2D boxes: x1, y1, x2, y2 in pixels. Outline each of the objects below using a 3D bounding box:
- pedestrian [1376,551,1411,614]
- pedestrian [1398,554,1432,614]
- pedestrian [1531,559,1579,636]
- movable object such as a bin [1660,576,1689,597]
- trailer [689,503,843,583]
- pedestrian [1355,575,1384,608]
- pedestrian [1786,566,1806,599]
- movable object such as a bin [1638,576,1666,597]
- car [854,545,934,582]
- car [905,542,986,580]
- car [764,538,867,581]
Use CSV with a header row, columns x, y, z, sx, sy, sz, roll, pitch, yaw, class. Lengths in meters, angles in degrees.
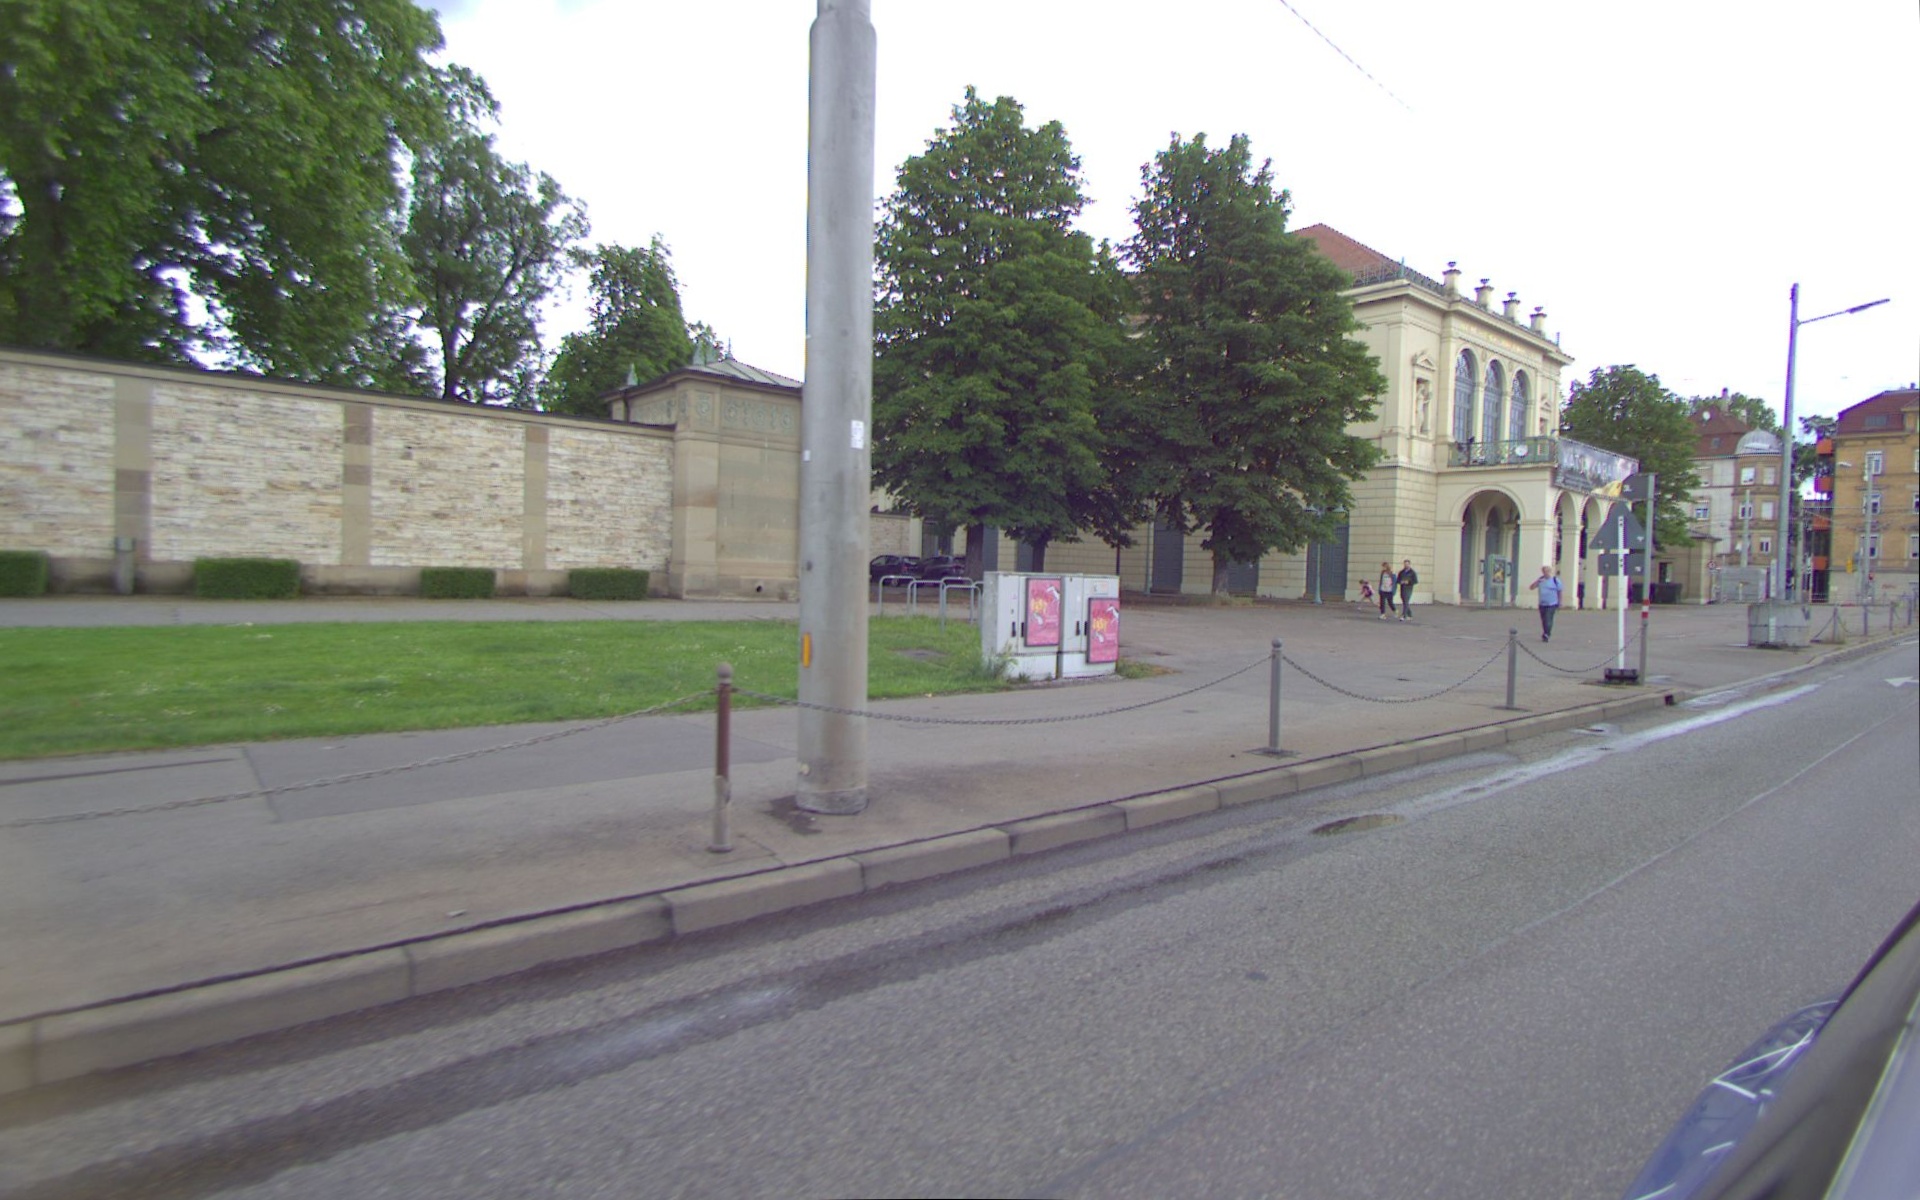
x,y,z,sx,sy,sz,roll,pitch,yaw,class
12.865,-0.521,30.028,0.794,1.814,0.596,0,2,-41,pedestrian
13.325,-0.477,29.631,0.776,1.720,0.597,0,2,-41,pedestrian
14.206,-0.063,24.153,0.920,1.789,0.672,0,2,-41,pedestrian
49.001,-0.918,69.366,1.355,1.385,1.297,-1,3,-41,movable object such as a bin
-7.191,-2.099,37.932,5.375,2.891,1.961,1,0,1,trailer
13.029,-0.275,32.190,0.748,1.013,0.594,2,2,15,pedestrian
46.022,-0.970,55.711,0.920,1.789,0.672,0,2,-41,pedestrian
48.076,-0.956,70.325,1.355,1.423,1.297,-1,3,-41,movable object such as a bin
-3.020,-1.644,46.110,1.867,1.588,3.646,-1,1,-40,car
-0.716,-1.808,47.673,1.867,1.672,3.785,-1,1,-40,car
-5.894,-1.639,41.389,3.740,1.672,1.890,0,1,19,car
